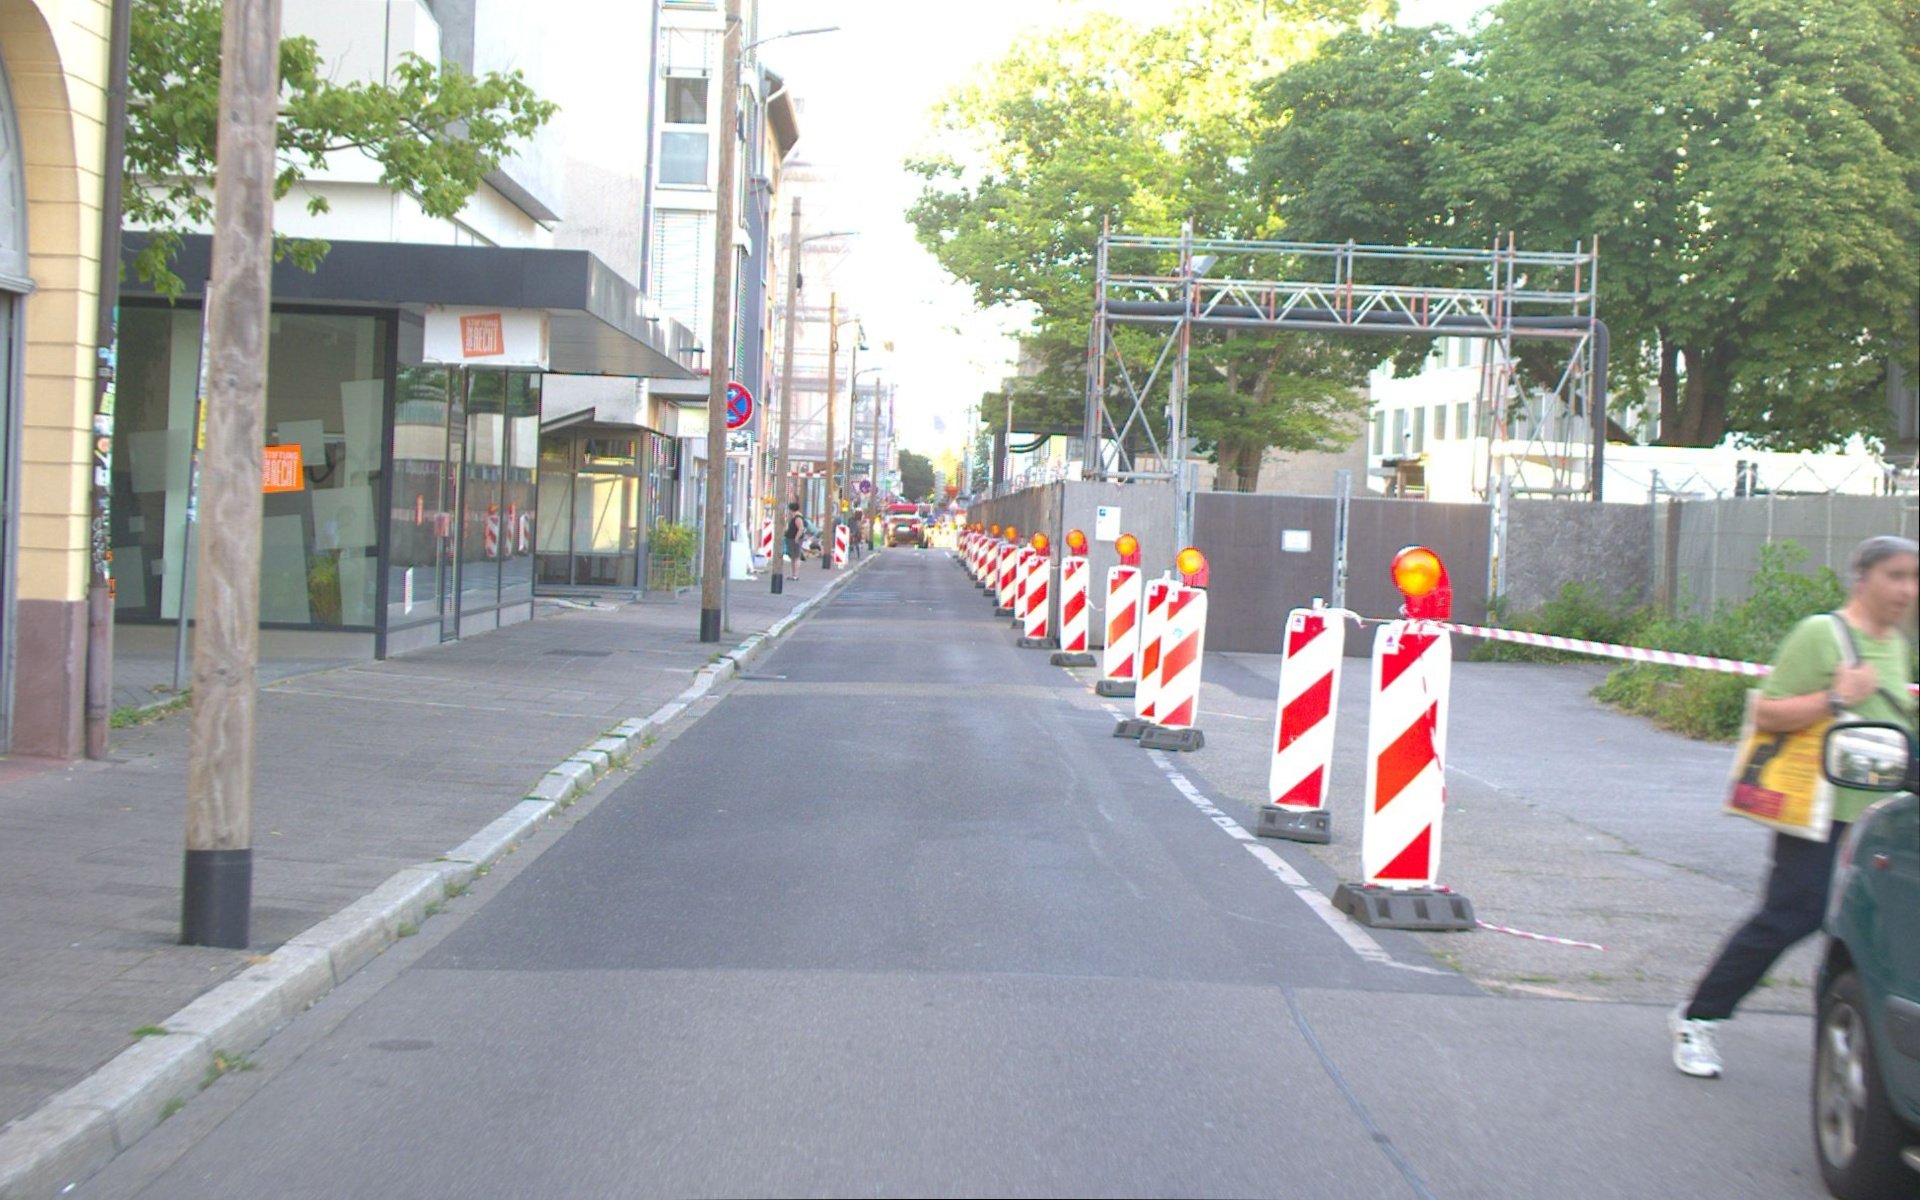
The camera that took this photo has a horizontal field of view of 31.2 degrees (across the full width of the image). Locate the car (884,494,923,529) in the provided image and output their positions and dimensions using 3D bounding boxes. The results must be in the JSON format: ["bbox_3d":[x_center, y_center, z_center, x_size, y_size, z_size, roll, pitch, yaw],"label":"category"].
[{"bbox_3d":[-2.843,-4.464,172.904,1.858,1.656,4.000,3,2,-1],"label":"car"}]

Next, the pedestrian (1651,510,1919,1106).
[{"bbox_3d":[2.418,0.568,9.933,0.613,1.623,0.818,3,1,2],"label":"pedestrian"}]

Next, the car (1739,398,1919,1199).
[{"bbox_3d":[2.862,0.548,6.676,1.713,1.842,4.022,3,2,0],"label":"car"}]

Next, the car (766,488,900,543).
[{"bbox_3d":[-3.686,-2.452,100.263,3.743,1.454,1.698,2,1,3],"label":"car"}]
